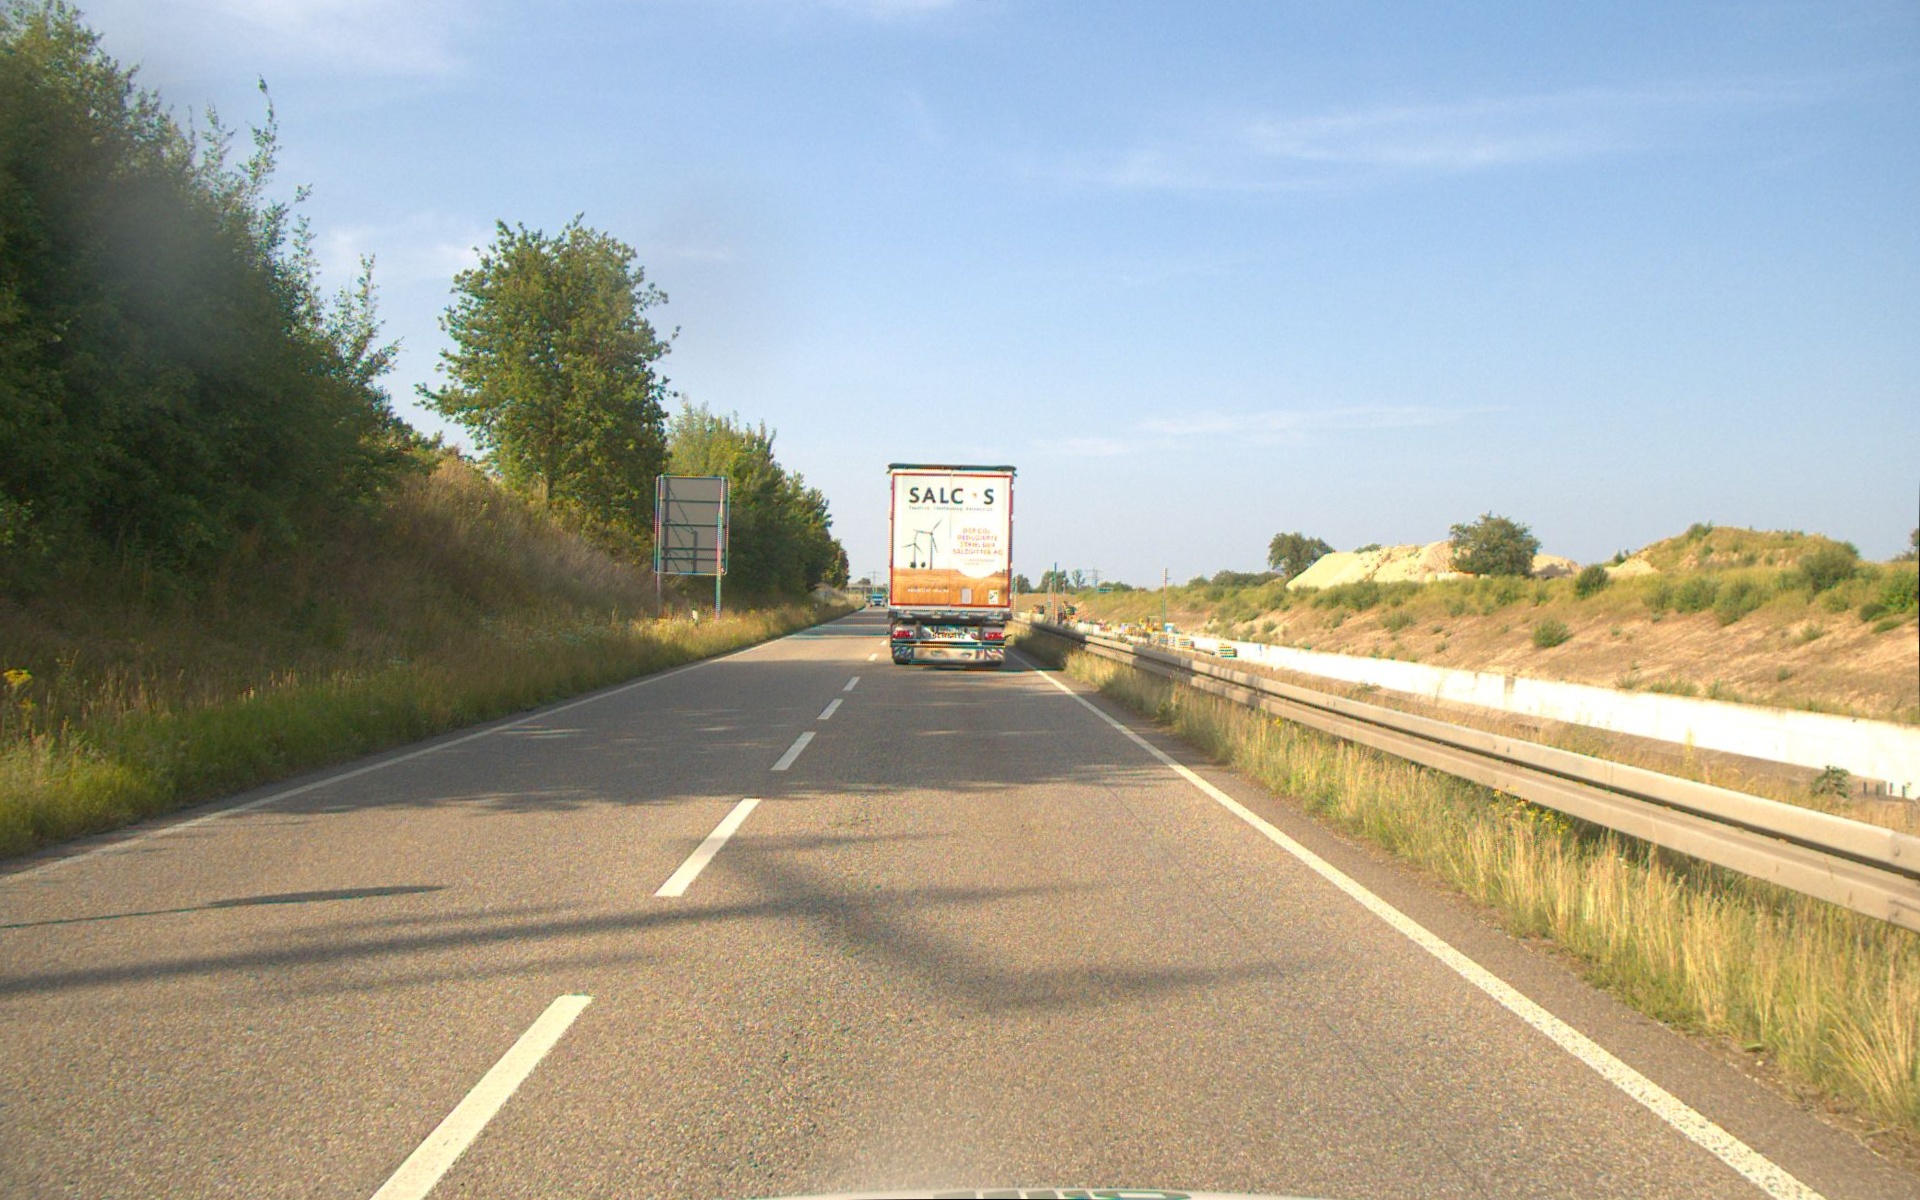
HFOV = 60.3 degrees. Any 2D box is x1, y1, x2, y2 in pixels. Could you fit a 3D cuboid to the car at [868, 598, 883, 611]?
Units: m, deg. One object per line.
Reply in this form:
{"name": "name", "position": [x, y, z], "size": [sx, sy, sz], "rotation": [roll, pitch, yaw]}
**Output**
{"name": "car", "position": [-10.577, 0.536, 207.307], "size": [1.710, 1.591, 4.363], "rotation": [1, 0, -2]}

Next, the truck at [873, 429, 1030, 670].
{"name": "truck", "position": [-0.327, -0.999, 37.170], "size": [3.090, 4.770, 8.437], "rotation": [1, 0, -2]}
